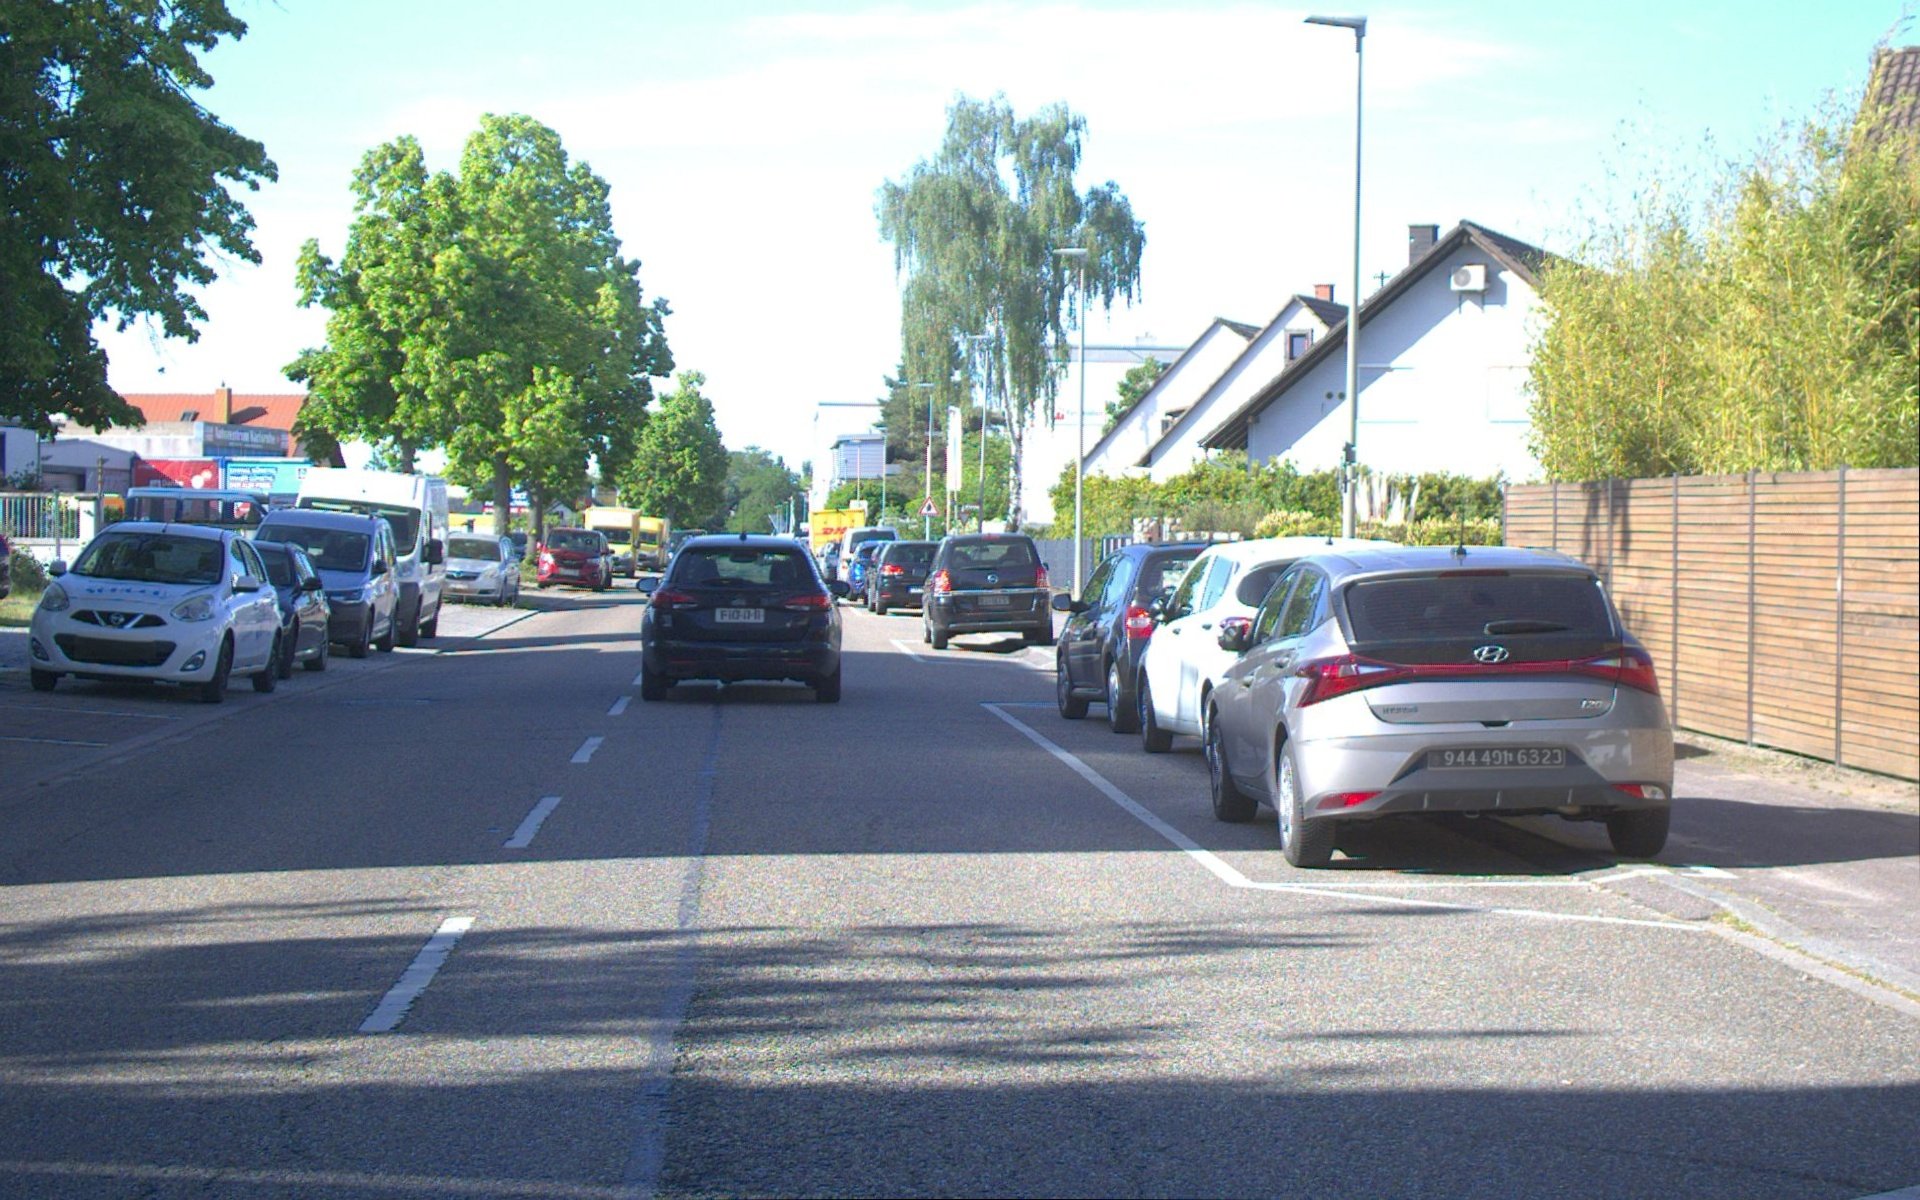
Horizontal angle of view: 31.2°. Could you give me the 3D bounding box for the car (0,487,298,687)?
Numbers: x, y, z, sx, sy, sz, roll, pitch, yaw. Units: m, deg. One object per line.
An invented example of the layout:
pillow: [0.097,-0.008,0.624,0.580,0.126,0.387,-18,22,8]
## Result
car: [-7.179,-0.145,30.793,1.693,1.560,3.907,4,1,-1]

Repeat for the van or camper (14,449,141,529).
van or camper: [-31.331,-3.918,122.280,2.165,2.706,6.268,1,1,7]

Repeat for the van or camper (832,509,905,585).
van or camper: [-2.395,-1.380,89.103,1.718,1.884,4.180,1,1,-3]

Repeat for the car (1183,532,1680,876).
car: [2.200,0.420,17.035,1.642,1.488,3.890,1,1,-4]

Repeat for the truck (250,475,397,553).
truck: [-27.790,-3.750,150.161,5.670,3.109,2.522,3,1,8]

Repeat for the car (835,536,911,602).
car: [-2.120,-0.762,83.067,1.718,1.499,3.564,1,1,-3]

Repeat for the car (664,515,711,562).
car: [-11.936,-2.687,150.793,1.894,2.024,4.818,-1,1,-3]

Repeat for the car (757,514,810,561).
car: [-6.369,-2.245,124.303,1.819,1.664,3.643,0,0,-2]

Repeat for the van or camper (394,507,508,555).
van or camper: [-22.124,-2.981,149.486,4.543,2.007,2.251,1,1,3]

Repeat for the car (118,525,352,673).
car: [-7.734,-0.055,37.026,1.609,1.430,4.313,3,1,-1]

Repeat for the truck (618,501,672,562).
truck: [-16.160,-3.502,176.666,2.402,2.973,6.374,3,1,-3]

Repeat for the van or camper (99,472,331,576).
van or camper: [-17.809,-1.811,82.267,4.894,2.312,2.243,2,0,10]

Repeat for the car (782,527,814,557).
car: [-10.145,-3.604,215.279,1.918,1.819,4.080,1,1,-3]

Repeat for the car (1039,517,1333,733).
car: [1.759,0.150,27.940,1.656,1.595,3.817,1,1,-7]

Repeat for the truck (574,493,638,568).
truck: [-14.920,-2.934,145.274,2.402,2.973,7.247,3,1,-5]

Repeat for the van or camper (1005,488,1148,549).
van or camper: [5.057,-3.527,148.667,5.813,2.532,2.290,0,1,-30]

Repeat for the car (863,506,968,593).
car: [-0.923,-1.040,69.263,1.775,1.653,3.817,2,1,-5]

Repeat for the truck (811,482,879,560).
truck: [-4.559,-3.082,135.469,2.402,2.926,7.017,-1,1,-3]

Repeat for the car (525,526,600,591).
car: [-11.398,-1.214,98.881,1.803,1.746,4.342,3,1,-3]

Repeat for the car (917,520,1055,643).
car: [0.333,-0.304,49.817,1.776,1.653,4.304,2,1,-2]

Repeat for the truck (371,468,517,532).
truck: [-22.953,-4.442,152.946,5.923,2.559,2.223,3,1,8]

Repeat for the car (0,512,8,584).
car: [-6.577,0.204,18.518,1.722,1.587,3.909,6,1,-1]

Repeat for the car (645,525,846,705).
car: [-1.910,0.092,31.310,1.711,1.527,3.688,1,1,-2]

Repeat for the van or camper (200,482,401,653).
van or camper: [-8.279,-0.437,43.485,1.877,2.007,4.280,2,1,-3]

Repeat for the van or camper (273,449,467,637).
van or camper: [-8.676,-0.865,50.995,2.122,2.481,5.556,4,1,-4]

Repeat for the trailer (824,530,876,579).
trailer: [-3.588,-1.497,111.355,1.627,1.533,3.198,1,1,-2]

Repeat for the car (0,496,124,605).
car: [-13.895,-0.709,47.776,1.613,1.508,4.378,2,1,37]

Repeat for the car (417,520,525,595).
car: [-10.188,-0.907,71.836,1.687,1.430,4.209,3,1,-1]

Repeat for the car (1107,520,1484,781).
car: [2.184,0.276,23.381,1.724,1.595,3.817,1,1,-7]
